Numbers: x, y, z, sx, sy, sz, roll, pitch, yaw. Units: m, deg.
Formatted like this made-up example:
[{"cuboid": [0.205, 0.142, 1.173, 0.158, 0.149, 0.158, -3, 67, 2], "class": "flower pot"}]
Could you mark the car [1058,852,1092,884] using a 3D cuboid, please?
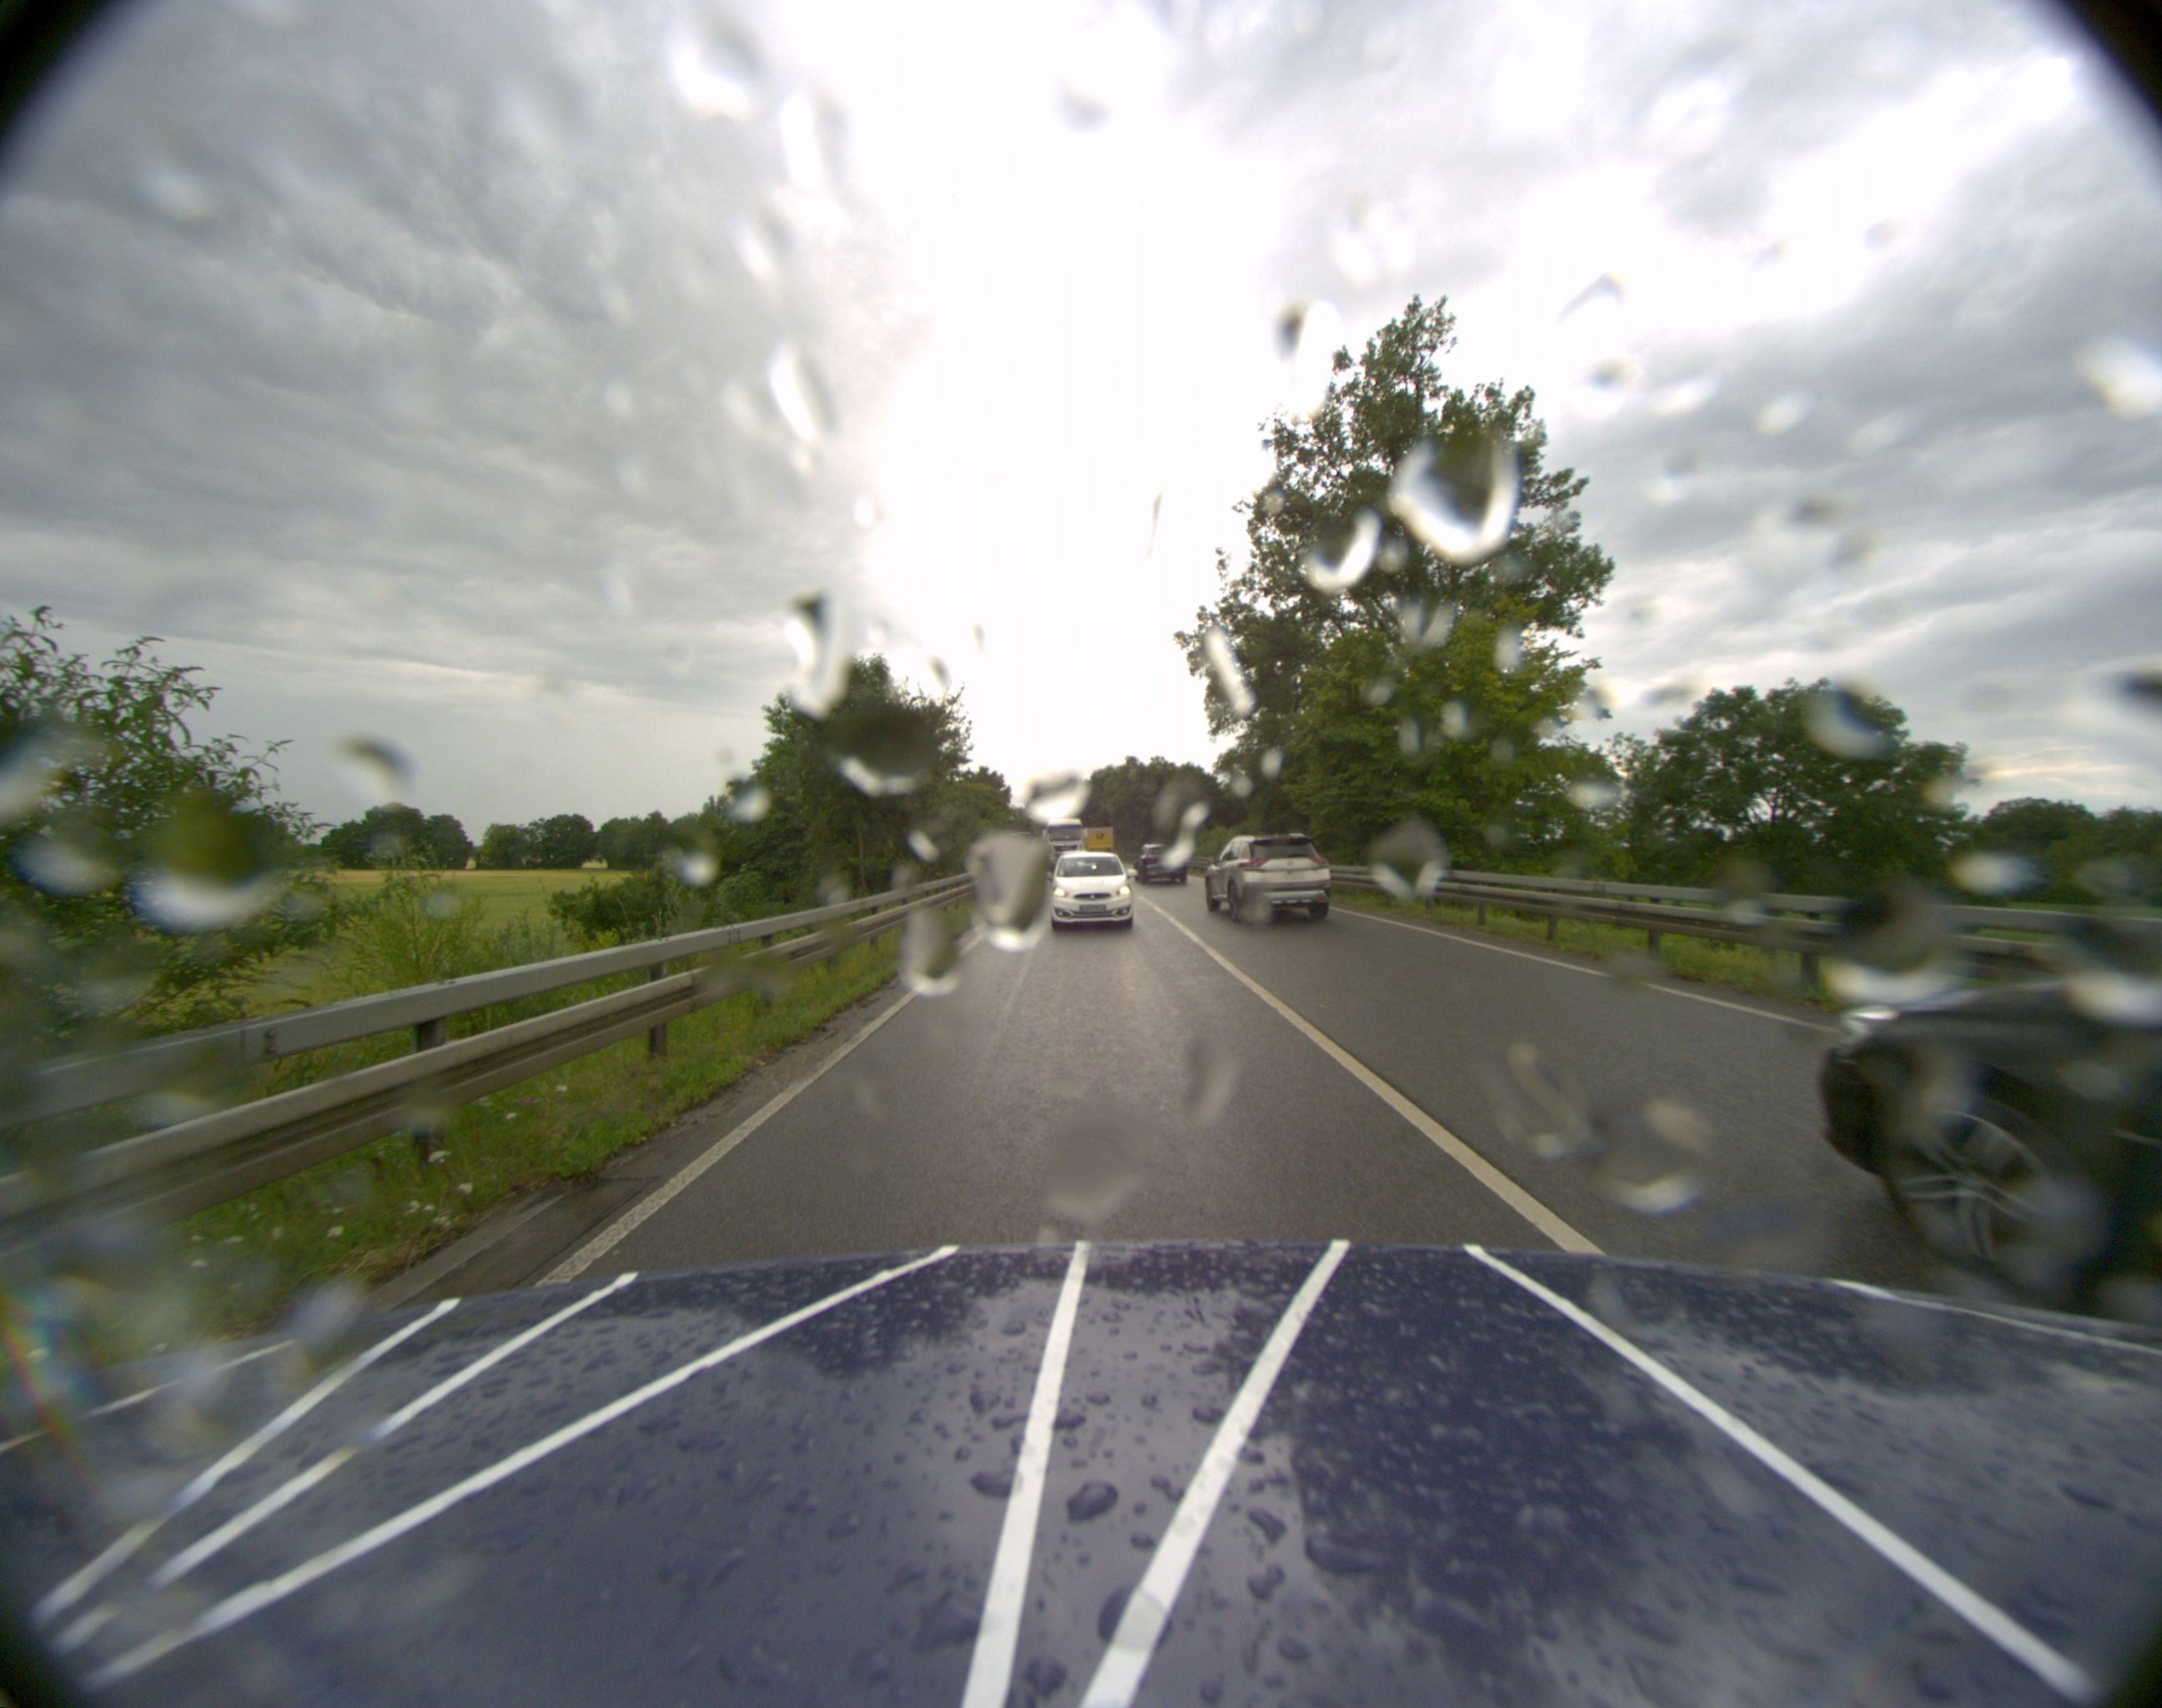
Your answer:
[{"cuboid": [-0.243, 0.617, 35.708, 1.475, 1.410, 3.428, -1, 0, 1], "class": "car"}]

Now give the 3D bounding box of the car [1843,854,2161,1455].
[{"cuboid": [3.740, 0.781, 0.774, 1.904, 1.532, 4.023, -2, 0, 1], "class": "car"}]

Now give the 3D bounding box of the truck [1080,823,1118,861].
[{"cuboid": [1.731, -1.310, 76.679, 2.778, 3.410, 9.180, -5, 2, -3], "class": "truck"}]

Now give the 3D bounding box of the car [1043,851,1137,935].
[{"cuboid": [0.209, 0.722, 16.242, 1.700, 1.471, 4.062, -2, 1, 1], "class": "car"}]

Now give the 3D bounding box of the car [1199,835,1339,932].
[{"cuboid": [3.787, 0.541, 16.119, 1.846, 1.690, 4.388, -2, 0, 0], "class": "car"}]

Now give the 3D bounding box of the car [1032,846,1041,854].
[{"cuboid": [-7.717, -0.690, 132.434, 1.393, 1.470, 3.225, -1, 1, -5], "class": "car"}]

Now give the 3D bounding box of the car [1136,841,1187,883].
[{"cuboid": [3.421, 0.314, 33.041, 1.750, 1.644, 4.524, -2, 0, 0], "class": "car"}]

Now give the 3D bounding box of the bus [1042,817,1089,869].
[{"cuboid": [-1.256, -0.822, 57.286, 3.063, 3.405, 13.635, -2, 1, -2], "class": "bus"}]
